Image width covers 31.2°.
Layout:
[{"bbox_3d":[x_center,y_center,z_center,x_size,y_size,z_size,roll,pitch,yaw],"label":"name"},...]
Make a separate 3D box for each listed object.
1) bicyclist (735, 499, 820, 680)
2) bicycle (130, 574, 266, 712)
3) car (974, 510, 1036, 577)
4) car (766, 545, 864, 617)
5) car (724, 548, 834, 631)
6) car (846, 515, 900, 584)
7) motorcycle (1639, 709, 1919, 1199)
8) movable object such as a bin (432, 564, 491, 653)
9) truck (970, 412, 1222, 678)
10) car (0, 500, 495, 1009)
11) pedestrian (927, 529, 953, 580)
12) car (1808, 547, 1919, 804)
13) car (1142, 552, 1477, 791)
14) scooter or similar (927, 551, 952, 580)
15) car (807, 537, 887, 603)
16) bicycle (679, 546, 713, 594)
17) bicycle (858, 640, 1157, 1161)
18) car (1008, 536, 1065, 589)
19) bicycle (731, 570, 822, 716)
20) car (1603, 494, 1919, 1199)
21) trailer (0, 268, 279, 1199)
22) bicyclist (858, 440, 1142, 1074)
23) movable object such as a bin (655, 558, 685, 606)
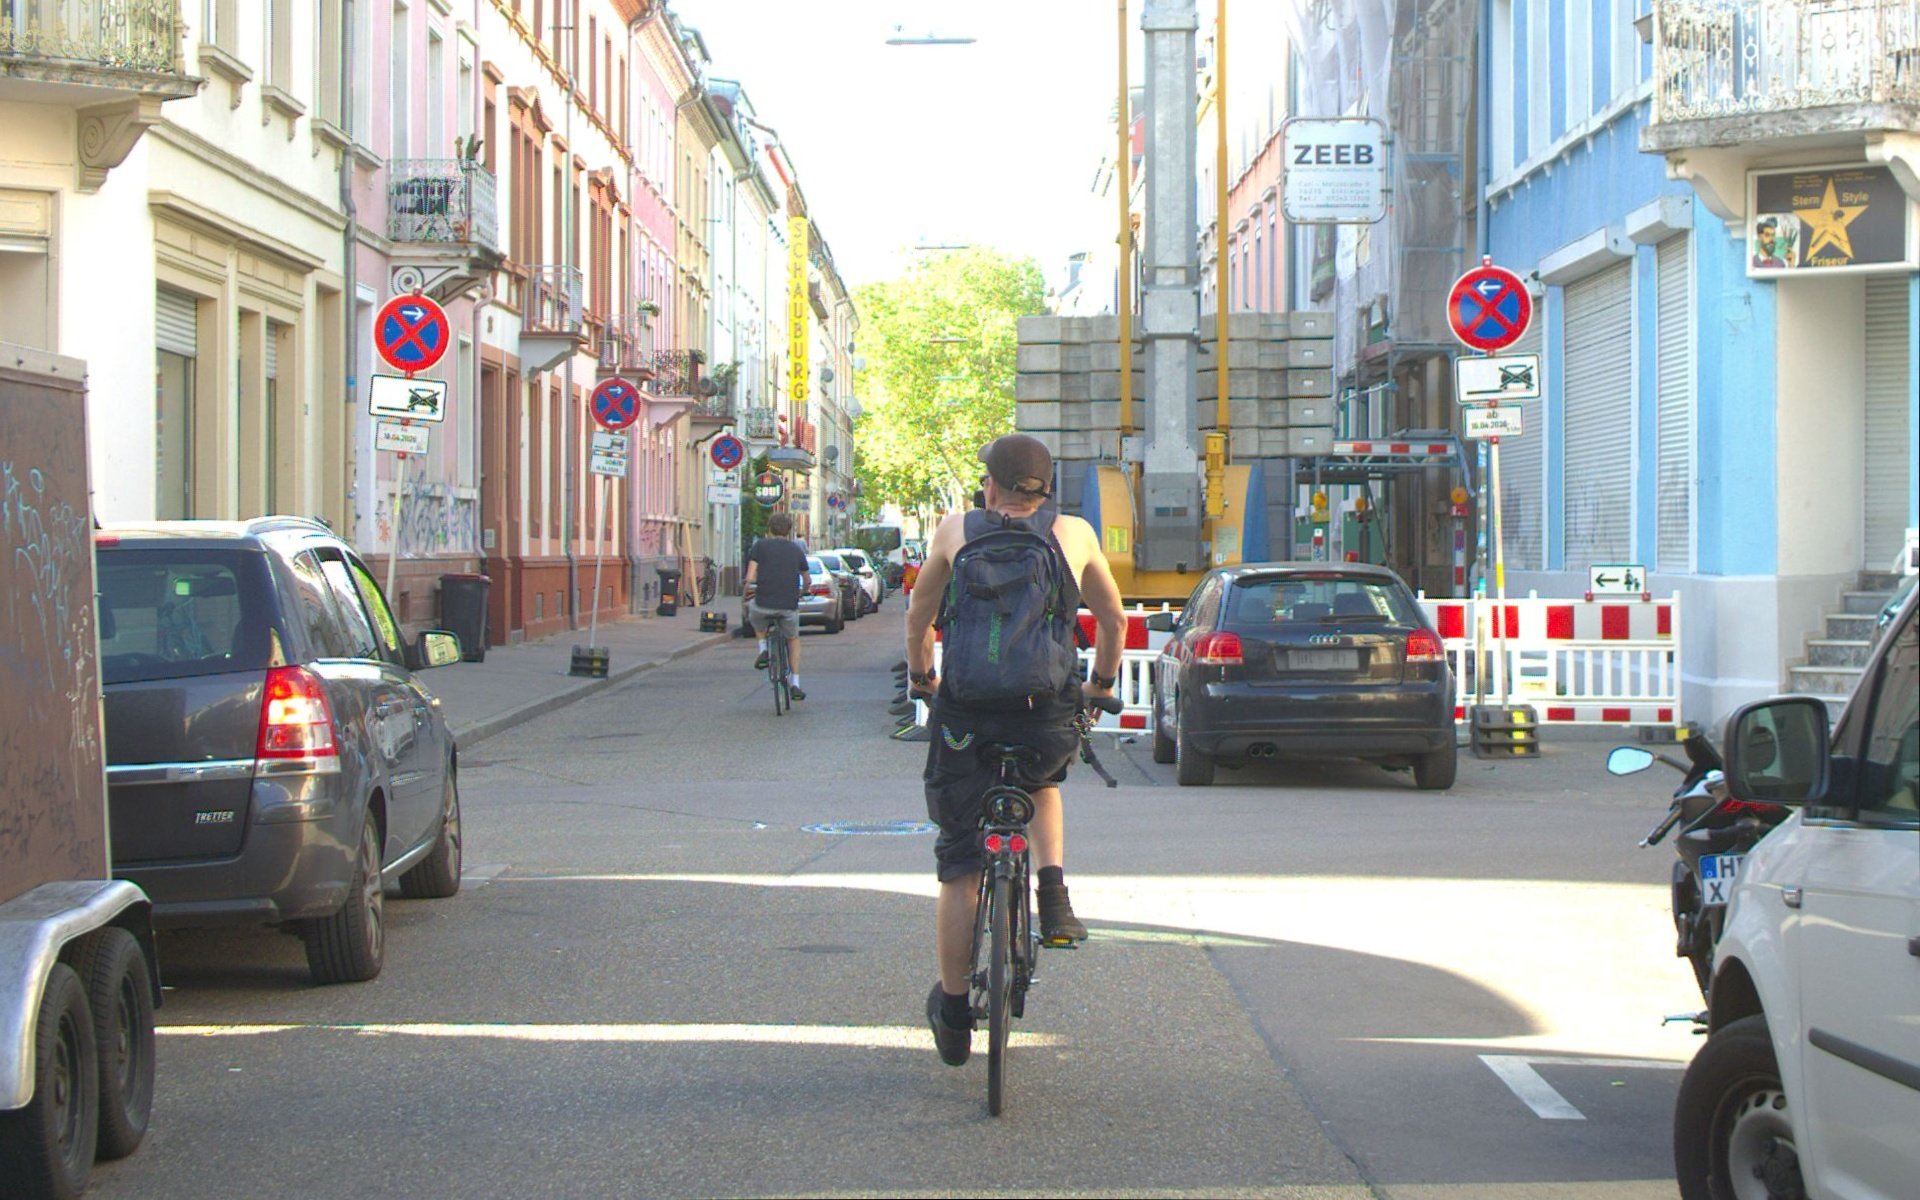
[{"bbox_3d":[-1.645,-0.103,31.076,0.702,1.599,0.813,-1,2,0],"label":"bicyclist"},{"bbox_3d":[-6.053,0.329,27.406,0.603,1.019,1.818,4,0,0],"label":"bicycle"},{"bbox_3d":[1.776,-2.249,137.875,2.307,2.529,6.770,-2,1,0],"label":"car"},{"bbox_3d":[-3.014,-0.425,72.182,1.710,1.378,4.356,0,2,2],"label":"car"},{"bbox_3d":[-3.223,-0.212,62.043,1.710,1.378,4.506,-2,1,0],"label":"car"},{"bbox_3d":[-3.236,-1.866,126.832,1.909,2.488,4.166,-1,1,-2],"label":"car"},{"bbox_3d":[2.207,0.887,9.138,0.719,1.082,1.995,3,1,11],"label":"motorcycle"},{"bbox_3d":[-5.891,0.095,40.626,0.605,1.032,0.596,1,0,-1],"label":"movable object such as a bin"},{"bbox_3d":[1.486,-0.631,40.742,2.661,2.804,7.393,1,1,0],"label":"truck"},{"bbox_3d":[-2.866,0.449,13.044,1.722,1.600,4.167,-1,1,-2],"label":"car"},{"bbox_3d":[-0.639,-1.443,108.899,0.770,1.573,0.900,1,0,0],"label":"pedestrian"},{"bbox_3d":[7.178,0.434,20.397,3.867,1.448,1.677,1,1,0],"label":"car"},{"bbox_3d":[2.241,0.409,23.017,1.771,1.429,4.034,1,1,-1],"label":"car"},{"bbox_3d":[-0.647,-1.090,108.469,0.770,0.870,0.771,1,0,0],"label":"scooter or similar"},{"bbox_3d":[-2.590,-0.704,79.591,1.672,1.437,4.165,-2,1,0],"label":"car"},{"bbox_3d":[-6.222,-0.710,81.058,0.592,1.085,2.079,1,1,0],"label":"bicycle"},{"bbox_3d":[0.118,0.745,9.548,0.702,1.204,2.342,1,1,0],"label":"bicycle"},{"bbox_3d":[2.347,-1.159,105.974,1.620,1.545,4.000,-2,1,0],"label":"car"},{"bbox_3d":[-1.649,0.366,31.201,0.702,1.203,2.342,-1,2,0],"label":"bicycle"},{"bbox_3d":[2.356,0.717,5.538,1.748,1.810,4.370,-1,1,0],"label":"car"},{"bbox_3d":[-2.923,0.325,8.725,1.661,2.054,4.364,-1,1,-3],"label":"trailer"},{"bbox_3d":[0.105,0.400,9.446,0.702,1.627,1.090,1,0,0],"label":"bicyclist"},{"bbox_3d":[-5.744,-0.357,68.107,0.543,0.941,0.487,1,0,1],"label":"movable object such as a bin"}]
